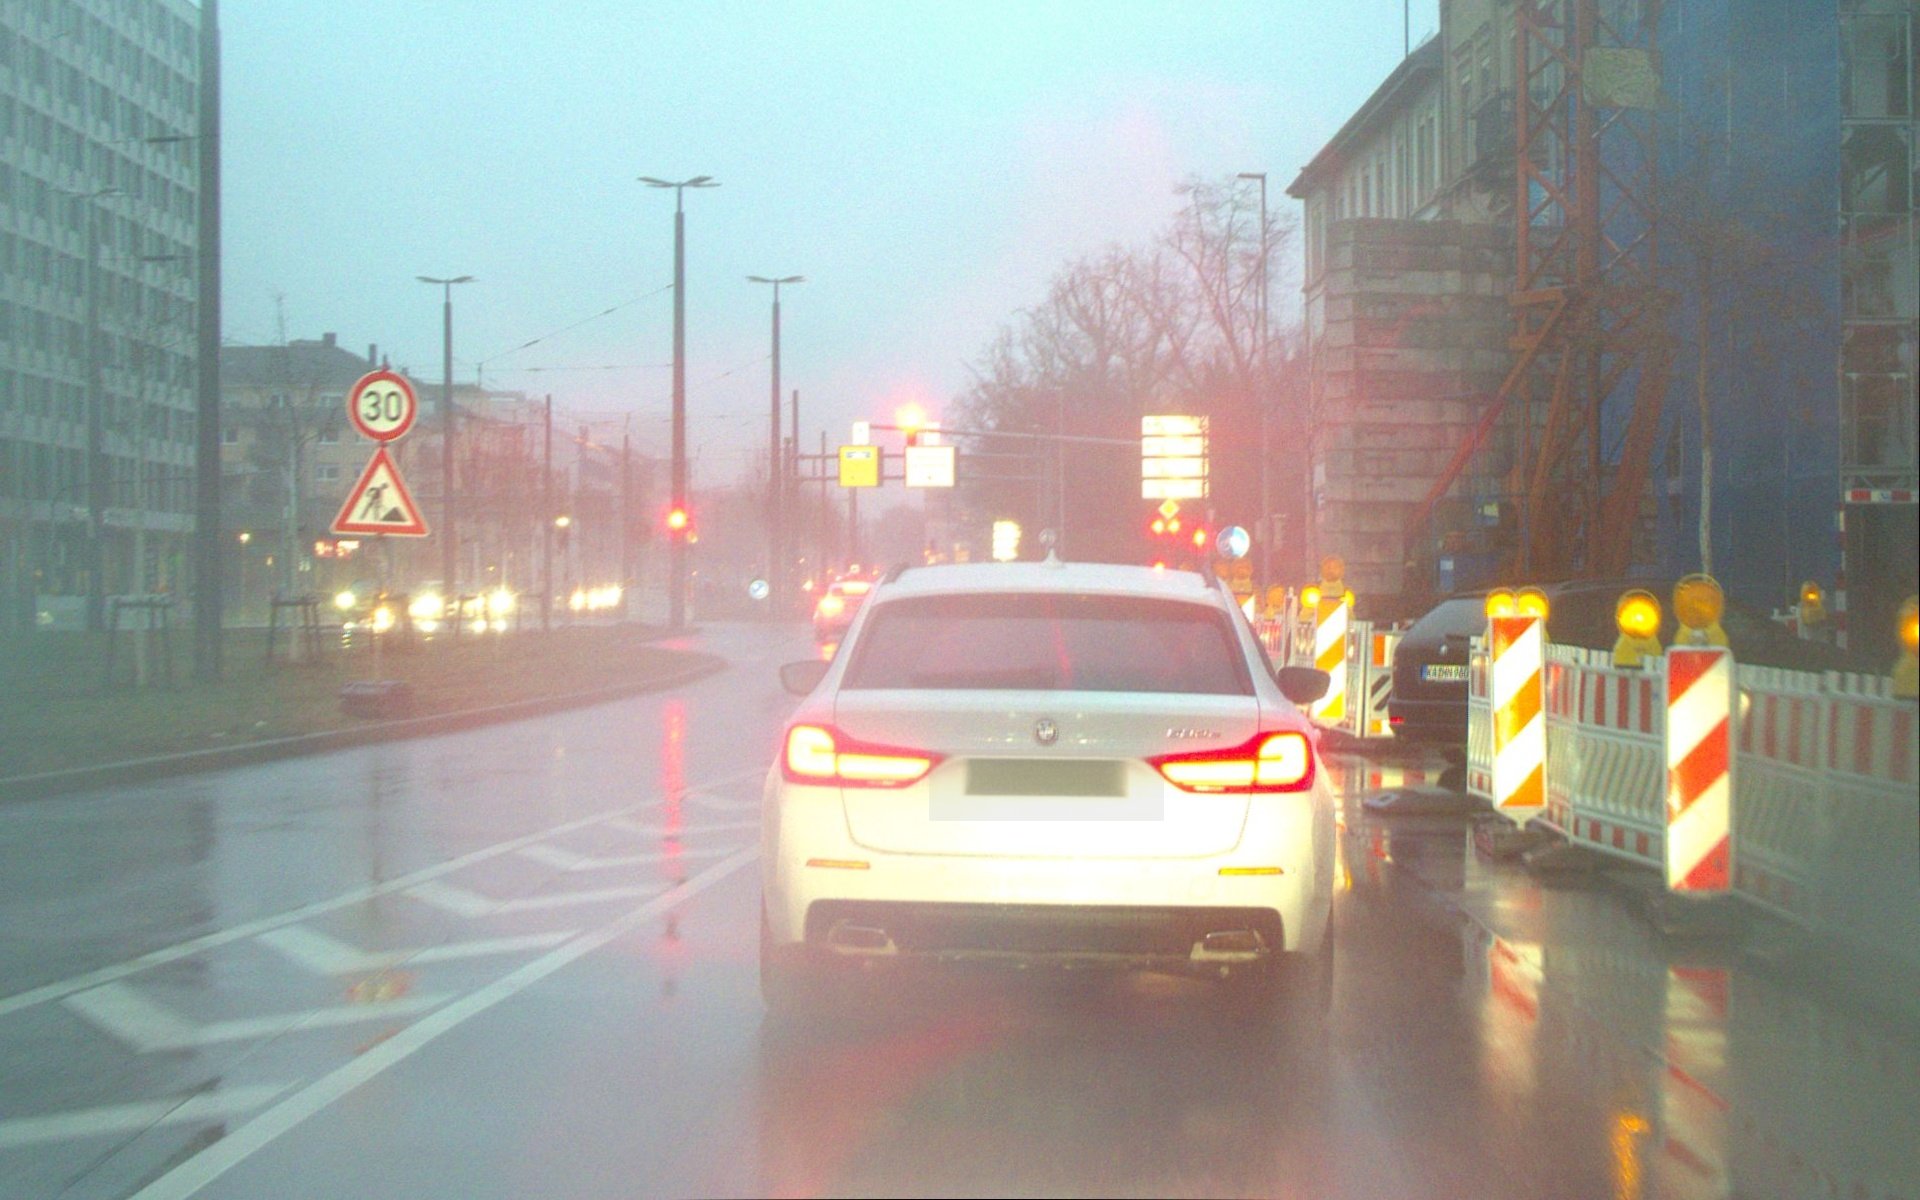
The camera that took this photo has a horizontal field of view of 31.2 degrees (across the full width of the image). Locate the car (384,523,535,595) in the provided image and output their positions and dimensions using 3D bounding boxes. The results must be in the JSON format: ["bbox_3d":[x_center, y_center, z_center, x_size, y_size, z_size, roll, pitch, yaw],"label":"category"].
[{"bbox_3d":[-14.504,-1.186,99.539,3.986,1.968,2.001,1,1,-19],"label":"car"}]

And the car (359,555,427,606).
[{"bbox_3d":[-22.735,-0.795,138.018,1.993,2.007,4.538,1,1,-1],"label":"car"}]

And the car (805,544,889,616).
[{"bbox_3d":[-2.691,-0.493,82.586,1.901,1.636,4.000,1,1,-1],"label":"car"}]

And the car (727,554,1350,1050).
[{"bbox_3d":[0.183,0.577,12.848,1.852,1.460,4.947,1,1,-1],"label":"car"}]

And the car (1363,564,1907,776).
[{"bbox_3d":[5.341,0.521,27.023,4.082,1.513,1.907,1,1,-36],"label":"car"}]

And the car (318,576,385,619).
[{"bbox_3d":[-22.118,-0.105,125.133,1.739,1.487,3.543,1,1,1],"label":"car"}]
